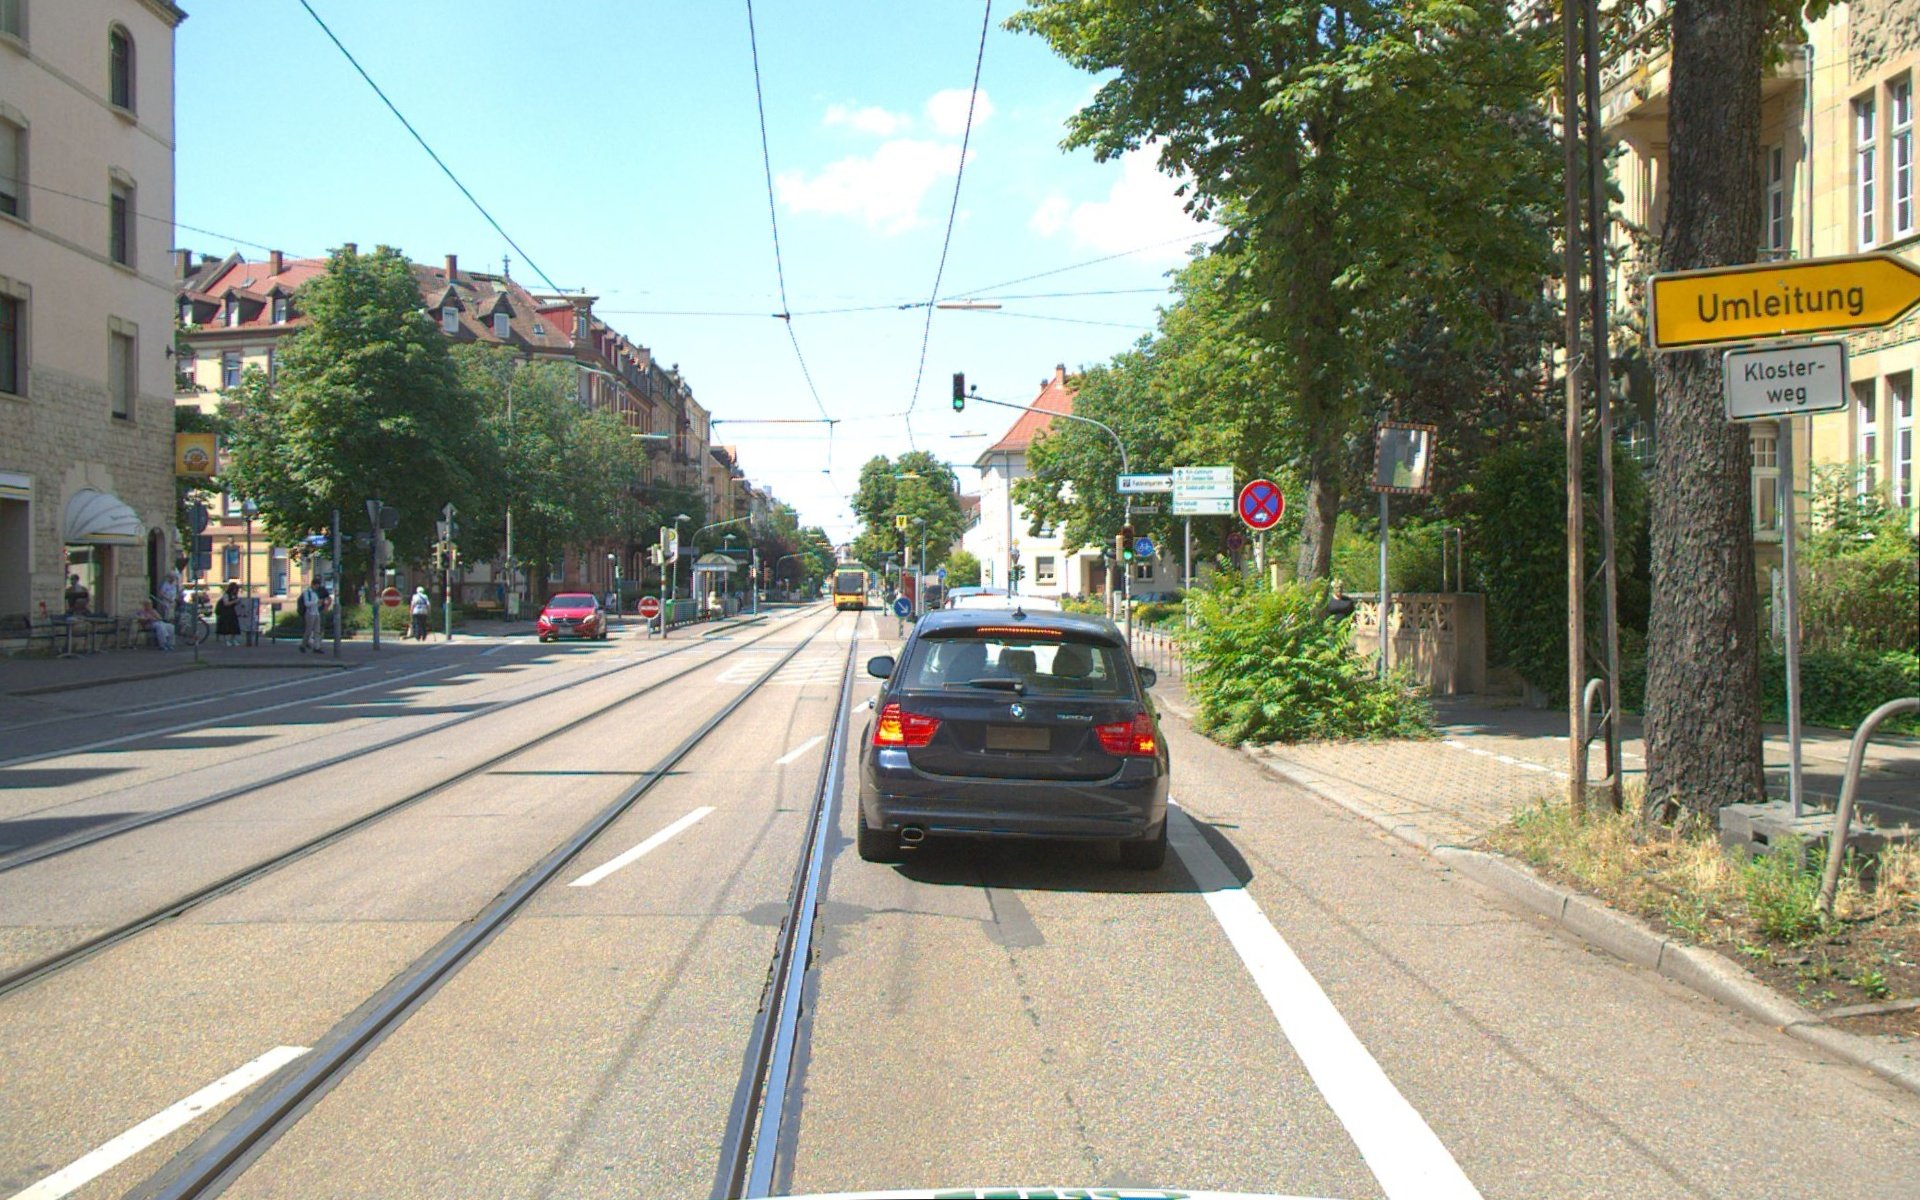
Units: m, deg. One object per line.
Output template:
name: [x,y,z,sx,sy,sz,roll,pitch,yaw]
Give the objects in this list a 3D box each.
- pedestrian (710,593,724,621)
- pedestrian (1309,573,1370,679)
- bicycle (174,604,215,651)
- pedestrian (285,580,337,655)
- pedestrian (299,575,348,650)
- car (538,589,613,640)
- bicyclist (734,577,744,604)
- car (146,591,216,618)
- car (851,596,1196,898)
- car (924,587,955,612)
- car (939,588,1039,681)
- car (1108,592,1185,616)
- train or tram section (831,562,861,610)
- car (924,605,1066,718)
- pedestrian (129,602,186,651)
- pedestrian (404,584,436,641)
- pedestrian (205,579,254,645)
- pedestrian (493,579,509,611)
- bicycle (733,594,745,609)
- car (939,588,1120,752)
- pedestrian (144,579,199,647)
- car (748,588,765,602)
pedestrian: [-10.851,0.304,73.933,0.602,1.264,0.626,0,0,-9]
pedestrian: [6.107,0.406,26.675,0.838,1.674,0.837,-1,0,5]
bicycle: [-19.264,0.694,41.604,0.539,1.148,1.658,0,-2,-40]
pedestrian: [-15.459,0.413,39.411,0.842,1.763,0.776,1,0,16]
pedestrian: [-16.613,0.325,43.173,0.883,1.924,1.164,0,0,-4]
car: [-11.902,0.418,51.409,1.788,1.438,4.422,-2,1,-7]
bicyclist: [-15.765,-0.672,117.955,0.709,1.903,0.824,0,0,-7]
car: [-43.543,0.245,92.472,3.388,1.497,1.685,0,0,22]
car: [0.390,0.733,10.592,1.687,1.433,4.566,2,0,2]
car: [-1.562,-0.046,124.489,1.955,1.881,3.994,0,0,-7]
car: [0.523,0.575,29.816,1.656,1.540,3.822,1,0,1]
car: [10.282,0.222,91.199,3.915,1.265,1.619,0,0,32]
train or tram section: [-8.741,-1.097,127.333,2.147,3.543,8.839,0,0,-4]
car: [0.383,0.757,22.069,1.657,1.346,3.819,0,0,-2]
pedestrian: [-18.477,0.609,38.099,0.897,1.096,0.882,0,0,-2]
pedestrian: [-16.889,0.384,51.700,0.903,1.753,0.835,0,0,-21]
pedestrian: [-18.699,0.307,42.334,0.857,1.664,1.009,0,0,-45]
pedestrian: [-27.103,-0.289,97.610,0.733,1.843,0.631,0,0,-41]
bicycle: [-15.764,0.101,118.087,0.714,1.121,1.714,0,0,-5]
car: [0.622,0.639,17.245,1.651,1.510,3.683,0,0,-1]
pedestrian: [-19.000,0.312,39.877,0.897,1.622,0.810,0,0,10]
car: [-24.358,-0.571,197.848,1.756,1.614,3.988,1,0,-12]
